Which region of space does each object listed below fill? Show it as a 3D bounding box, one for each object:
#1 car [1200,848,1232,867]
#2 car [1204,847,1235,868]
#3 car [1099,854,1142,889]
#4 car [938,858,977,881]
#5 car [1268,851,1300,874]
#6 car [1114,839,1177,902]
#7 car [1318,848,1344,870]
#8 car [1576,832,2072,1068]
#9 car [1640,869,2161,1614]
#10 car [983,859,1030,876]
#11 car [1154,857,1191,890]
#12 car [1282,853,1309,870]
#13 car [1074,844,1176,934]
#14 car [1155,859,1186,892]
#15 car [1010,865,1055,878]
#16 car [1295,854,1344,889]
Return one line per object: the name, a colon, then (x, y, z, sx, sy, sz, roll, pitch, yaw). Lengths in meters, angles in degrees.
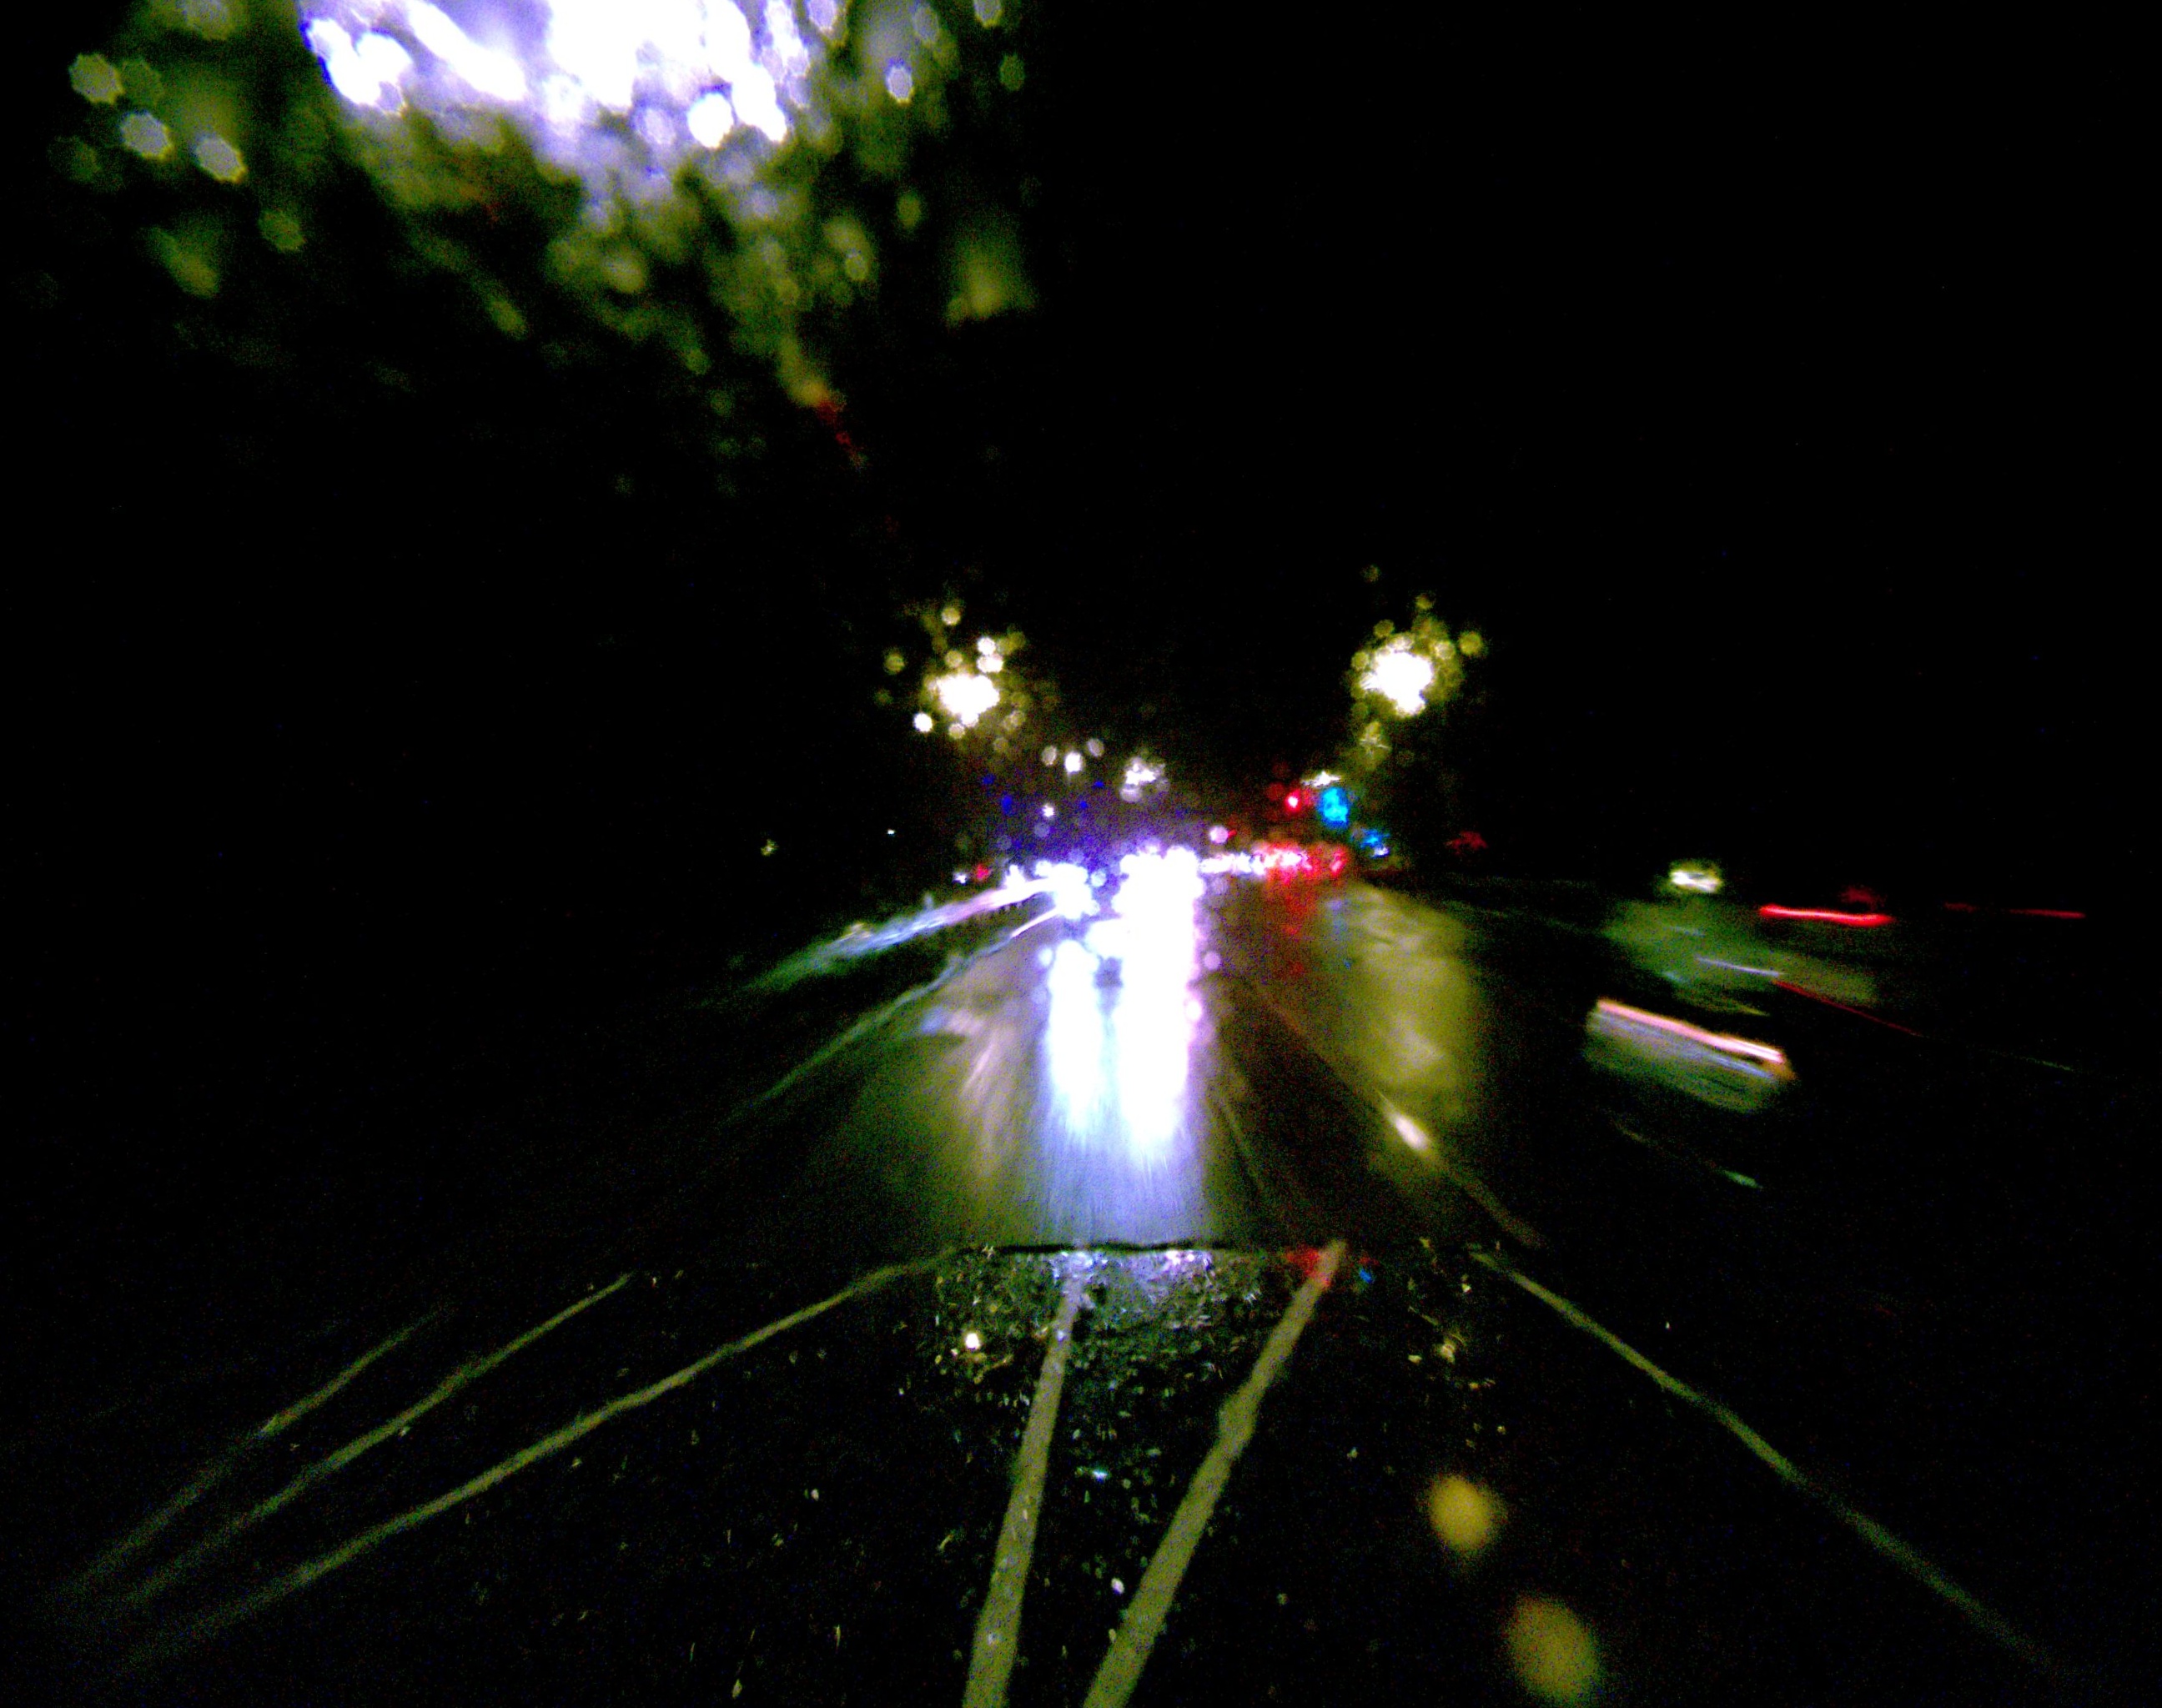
car: (15.551, 0.369, 87.423, 1.865, 2.001, 4.008, -2, -1, 37)
car: (14.191, 0.366, 77.609, 1.865, 2.001, 4.007, -2, -1, 29)
car: (2.098, 0.846, 39.254, 2.045, 1.611, 4.288, -3, 0, 5)
car: (-13.586, 1.713, 83.516, 3.990, 2.002, 1.766, -6, 3, 38)
car: (16.112, 0.664, 60.150, 2.001, 1.665, 4.623, -2, 0, 20)
car: (2.280, 0.540, 26.159, 1.997, 2.002, 4.002, 0, 0, 7)
car: (18.415, 0.362, 56.071, 1.768, 1.508, 3.953, -1, 0, 17)
car: (6.060, 0.677, 6.753, 1.474, 1.575, 3.192, -2, -1, 7)
car: (3.136, 0.799, 0.877, 1.900, 1.431, 4.062, -1, 0, -2)
car: (-7.843, 1.438, 79.929, 4.769, 1.630, 2.004, -1, 0, 37)
car: (7.290, 1.482, 60.182, 1.997, 2.003, 4.002, -7, 2, 17)
car: (27.949, 0.936, 98.751, 1.865, 2.001, 4.008, -2, -1, 39)
car: (0.967, 0.725, 16.648, 1.927, 1.704, 4.241, 0, -1, 4)
car: (5.254, 1.202, 44.208, 1.304, 1.520, 3.048, -13, -1, 11)
car: (-5.259, 1.881, 81.817, 4.533, 1.400, 2.004, -1, 0, 37)
car: (10.876, 0.756, 34.896, 1.769, 1.419, 4.222, 0, 1, 12)
